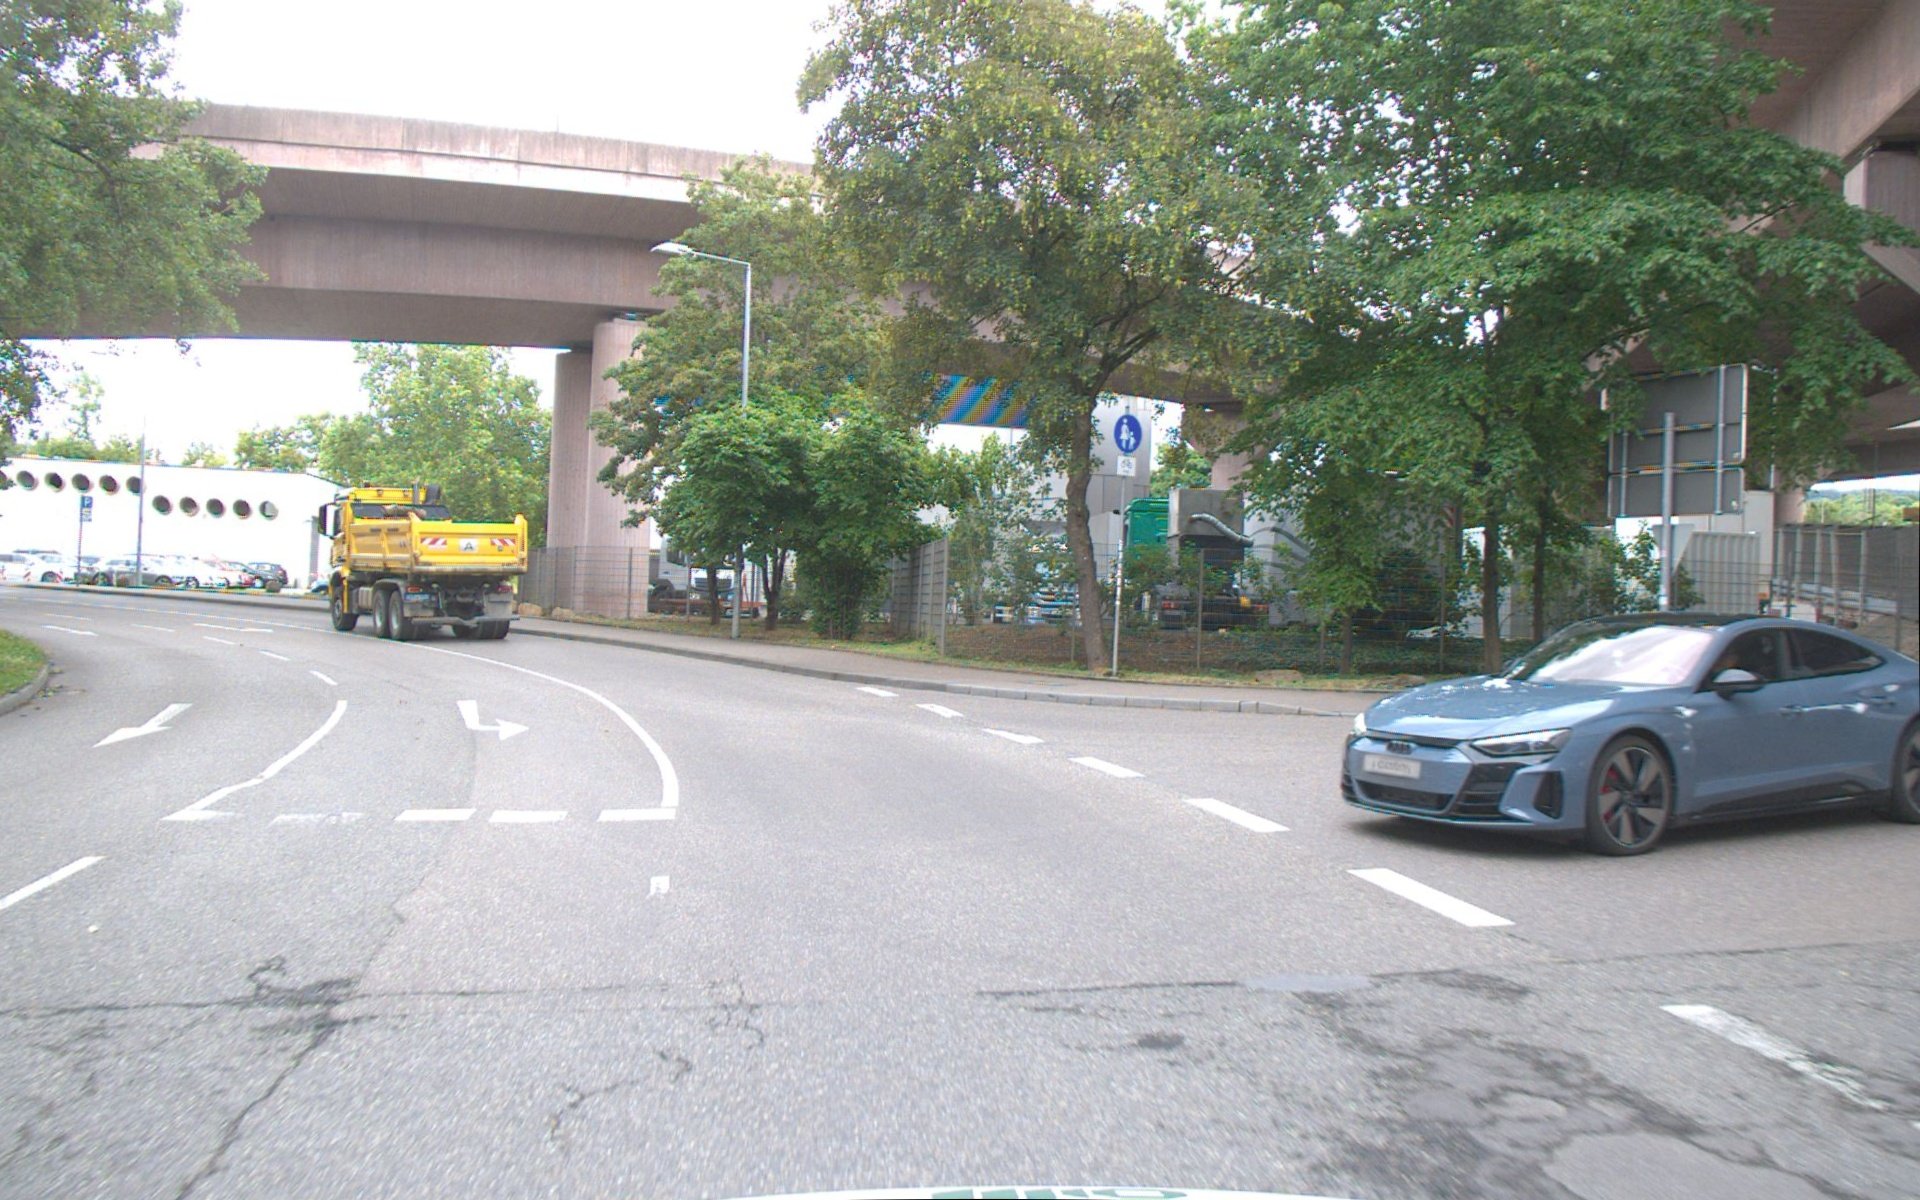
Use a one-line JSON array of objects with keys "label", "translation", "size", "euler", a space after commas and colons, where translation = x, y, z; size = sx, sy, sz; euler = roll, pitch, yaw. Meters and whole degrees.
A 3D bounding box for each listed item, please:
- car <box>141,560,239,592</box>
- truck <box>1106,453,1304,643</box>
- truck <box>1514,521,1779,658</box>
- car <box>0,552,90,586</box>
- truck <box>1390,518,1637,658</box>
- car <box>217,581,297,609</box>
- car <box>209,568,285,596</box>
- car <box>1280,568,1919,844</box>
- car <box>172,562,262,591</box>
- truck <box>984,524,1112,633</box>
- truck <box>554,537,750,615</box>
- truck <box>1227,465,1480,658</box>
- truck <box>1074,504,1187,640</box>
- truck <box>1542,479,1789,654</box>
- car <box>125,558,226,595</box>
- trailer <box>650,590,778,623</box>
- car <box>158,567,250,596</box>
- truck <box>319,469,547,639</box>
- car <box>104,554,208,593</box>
[{"label": "car", "translation": [-37.828, -1.159, 81.331], "size": [3.913, 1.467, 1.996], "euler": [1, -1, -9]}, {"label": "truck", "translation": [5.548, -1.185, 38.787], "size": [3.006, 4.032, 6.916], "euler": [0, 1, -5]}, {"label": "truck", "translation": [15.944, -0.304, 39.003], "size": [2.860, 2.949, 6.548], "euler": [0, 1, -7]}, {"label": "car", "translation": [-42.514, -1.391, 75.227], "size": [4.731, 1.467, 1.996], "euler": [1, -1, -9]}, {"label": "truck", "translation": [12.647, -0.335, 38.459], "size": [2.860, 2.949, 6.548], "euler": [0, 1, -7]}, {"label": "car", "translation": [-41.133, -0.268, 96.785], "size": [3.912, 1.574, 1.852], "euler": [1, 0, -8]}, {"label": "car", "translation": [-40.072, -1.008, 93.004], "size": [3.631, 1.467, 1.631], "euler": [1, -1, -9]}, {"label": "car", "translation": [4.774, 0.615, 11.260], "size": [4.860, 1.528, 2.153], "euler": [1, 0, -28]}, {"label": "car", "translation": [-39.544, -1.237, 88.091], "size": [3.913, 1.467, 1.996], "euler": [1, -1, -9]}, {"label": "truck", "translation": [3.076, -0.849, 60.497], "size": [2.999, 3.682, 7.900], "euler": [1, 2, -9]}, {"label": "truck", "translation": [-10.877, -0.839, 58.098], "size": [7.089, 2.596, 2.713], "euler": [1, 0, 37]}, {"label": "truck", "translation": [8.754, -0.889, 38.026], "size": [3.007, 3.935, 8.036], "euler": [0, 1, -7]}, {"label": "truck", "translation": [6.412, -1.111, 63.561], "size": [3.138, 4.863, 8.045], "euler": [1, 1, -2]}, {"label": "truck", "translation": [19.166, -0.951, 45.649], "size": [3.004, 4.374, 8.045], "euler": [1, 1, -3]}, {"label": "car", "translation": [-37.308, -1.118, 78.775], "size": [3.914, 1.669, 1.995], "euler": [1, -1, -10]}, {"label": "trailer", "translation": [-7.614, 0.159, 50.601], "size": [2.123, 0.756, 6.242], "euler": [-2, 2, -26]}, {"label": "car", "translation": [-39.113, -0.966, 85.651], "size": [3.913, 1.431, 1.996], "euler": [1, -1, -9]}, {"label": "truck", "translation": [-12.519, -1.046, 38.748], "size": [2.902, 3.542, 8.147], "euler": [-1, 1, -34]}, {"label": "car", "translation": [-36.766, -1.200, 75.699], "size": [3.914, 1.669, 1.686], "euler": [1, -1, -10]}]
